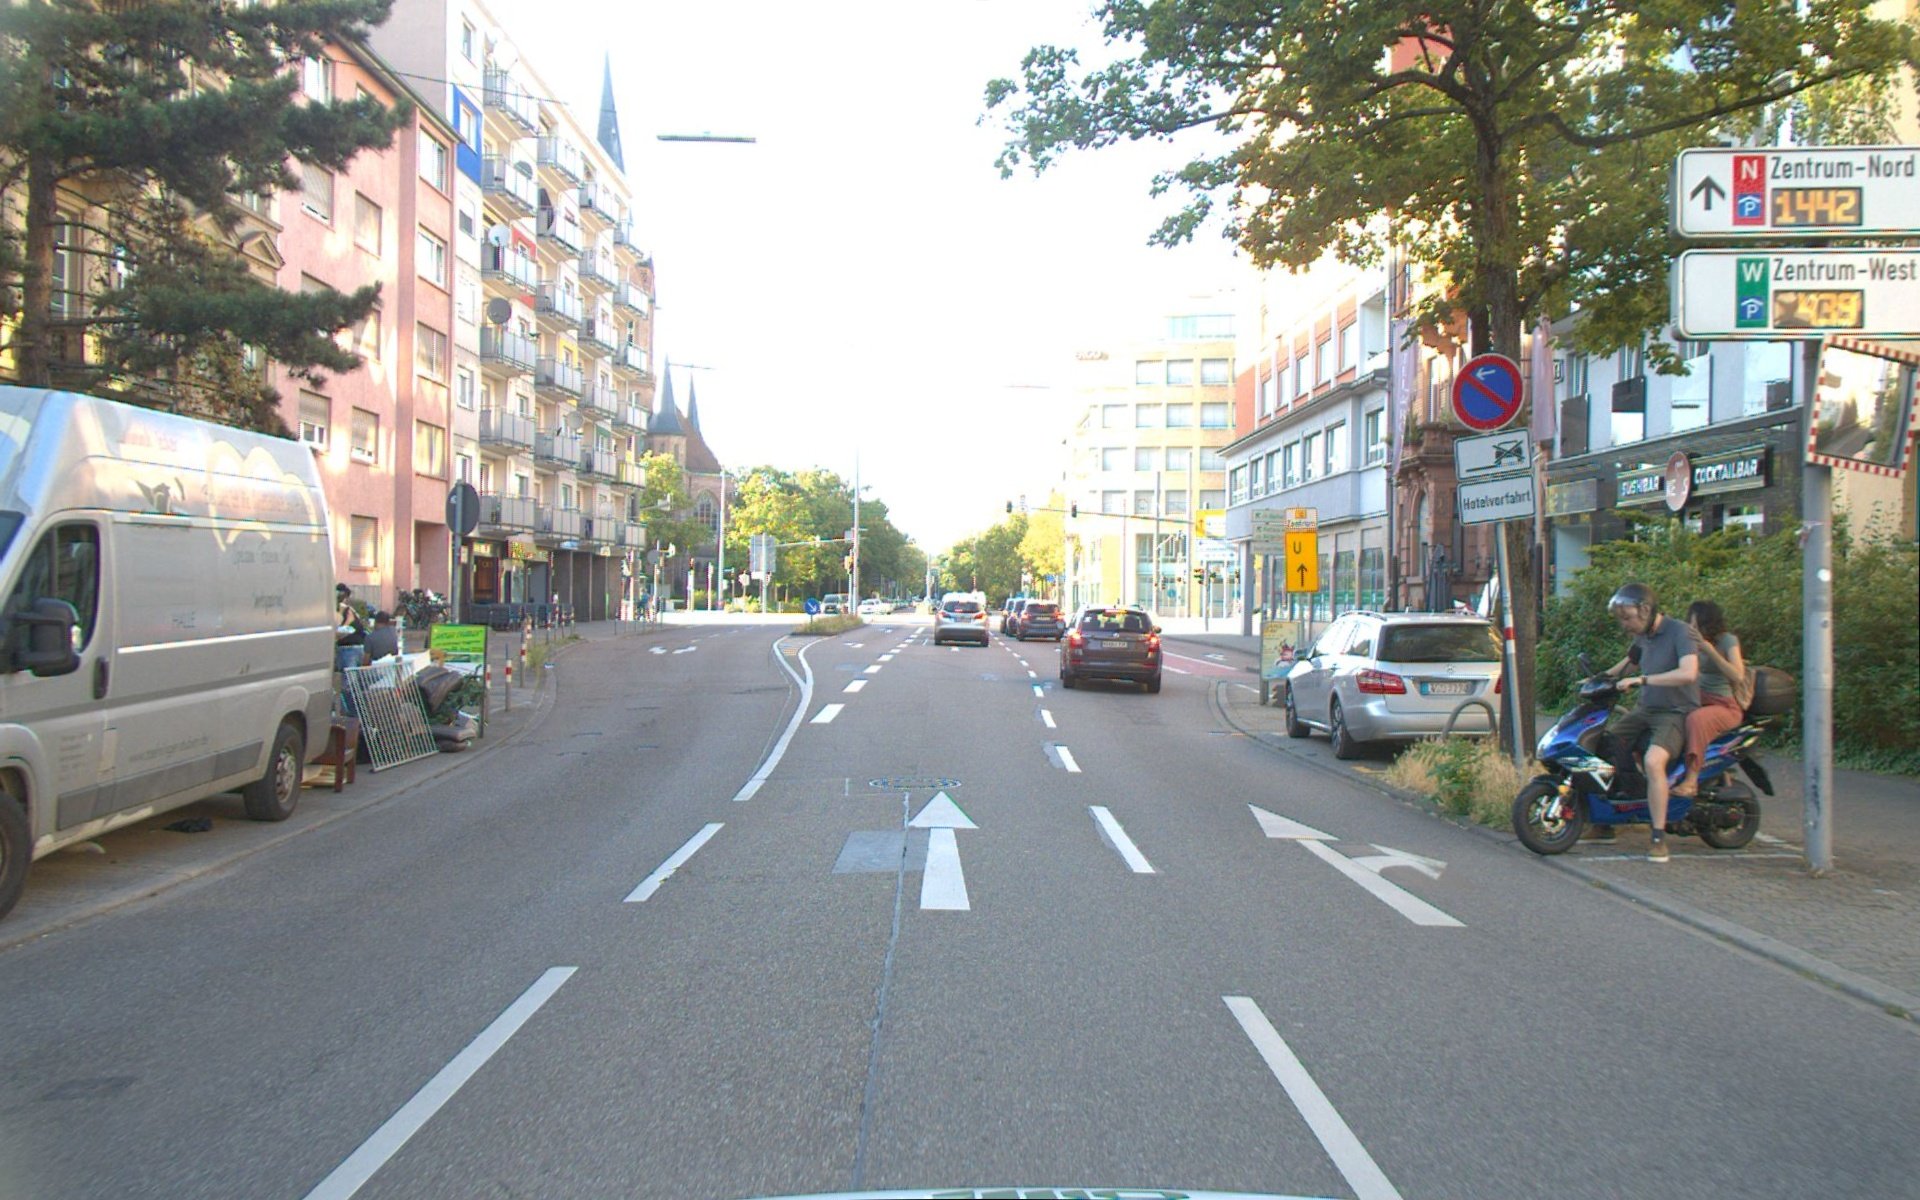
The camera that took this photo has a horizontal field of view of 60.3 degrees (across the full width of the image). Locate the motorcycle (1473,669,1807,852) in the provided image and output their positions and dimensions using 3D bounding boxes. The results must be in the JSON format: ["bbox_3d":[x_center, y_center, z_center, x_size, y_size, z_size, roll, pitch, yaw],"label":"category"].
[{"bbox_3d":[4.420,1.021,10.797,1.892,1.090,0.818,1,0,-13],"label":"motorcycle"}]

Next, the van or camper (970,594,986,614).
[{"bbox_3d":[2.412,0.509,219.005,1.952,2.686,5.351,1,0,1],"label":"van or camper"}]

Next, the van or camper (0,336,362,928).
[{"bbox_3d":[-5.499,0.116,9.669,1.995,2.710,6.012,3,0,-3],"label":"van or camper"}]

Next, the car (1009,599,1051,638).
[{"bbox_3d":[2.829,0.721,67.258,1.459,1.532,3.478,1,0,-2],"label":"car"}]

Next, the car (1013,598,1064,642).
[{"bbox_3d":[2.873,0.717,61.361,1.617,1.510,4.239,2,0,-1],"label":"car"}]

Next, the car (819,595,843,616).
[{"bbox_3d":[-10.881,0.456,139.737,1.743,1.676,4.000,1,0,0],"label":"car"}]

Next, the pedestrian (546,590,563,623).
[{"bbox_3d":[-17.268,0.276,70.464,0.473,1.408,0.481,1,-1,20],"label":"pedestrian"}]

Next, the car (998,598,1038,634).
[{"bbox_3d":[2.531,0.689,72.889,1.552,1.472,3.647,2,0,-1],"label":"car"}]

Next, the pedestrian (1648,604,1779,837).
[{"bbox_3d":[4.888,0.761,10.761,0.430,1.455,0.702,1,0,-12],"label":"pedestrian"}]

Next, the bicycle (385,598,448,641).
[{"bbox_3d":[-15.347,0.549,46.729,1.649,1.180,0.492,1,0,-27],"label":"bicycle"}]

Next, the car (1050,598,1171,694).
[{"bbox_3d":[2.640,0.766,29.844,1.673,1.482,4.158,4,0,-1],"label":"car"}]

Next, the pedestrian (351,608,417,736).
[{"bbox_3d":[-6.479,0.804,18.628,0.548,1.402,0.480,2,0,-6],"label":"pedestrian"}]

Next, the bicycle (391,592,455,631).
[{"bbox_3d":[-15.439,0.324,47.535,1.638,1.059,0.548,2,-1,-8],"label":"bicycle"}]

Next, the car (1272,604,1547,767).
[{"bbox_3d":[4.813,0.832,18.464,1.817,1.539,4.835,-1,0,1],"label":"car"}]

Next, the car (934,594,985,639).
[{"bbox_3d":[-0.050,0.572,60.735,1.767,1.596,3.617,1,0,-2],"label":"car"}]

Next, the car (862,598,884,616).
[{"bbox_3d":[-7.674,0.622,145.793,1.743,1.490,4.000,1,0,0],"label":"car"}]

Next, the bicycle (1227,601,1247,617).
[{"bbox_3d":[21.321,0.701,127.540,1.487,1.193,0.475,1,0,6],"label":"bicycle"}]

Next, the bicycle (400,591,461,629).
[{"bbox_3d":[-15.484,0.288,48.364,1.642,1.059,0.547,2,-1,-16],"label":"bicycle"}]

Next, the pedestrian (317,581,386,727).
[{"bbox_3d":[-7.188,0.626,19.545,0.593,1.681,0.696,1,0,-7],"label":"pedestrian"}]

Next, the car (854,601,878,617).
[{"bbox_3d":[-7.912,0.753,139.217,1.743,1.258,4.000,1,0,0],"label":"car"}]

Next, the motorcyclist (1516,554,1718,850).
[{"bbox_3d":[4.229,0.627,10.712,0.723,1.809,1.085,1,0,-12],"label":"motorcyclist"}]

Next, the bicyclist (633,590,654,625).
[{"bbox_3d":[-15.464,0.365,80.822,0.766,1.689,0.900,1,-1,-1],"label":"bicyclist"}]

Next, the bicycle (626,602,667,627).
[{"bbox_3d":[-15.222,0.701,80.335,1.790,1.209,0.734,1,0,-2],"label":"bicycle"}]

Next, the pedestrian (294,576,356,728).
[{"bbox_3d":[-7.182,0.574,18.730,0.470,1.681,0.724,1,0,-7],"label":"pedestrian"}]

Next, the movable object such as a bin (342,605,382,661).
[{"bbox_3d":[-12.162,0.661,33.637,0.633,1.102,0.577,3,-1,-31],"label":"movable object such as a bin"}]

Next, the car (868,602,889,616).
[{"bbox_3d":[-7.687,0.820,156.807,1.743,1.258,4.000,1,0,0],"label":"car"}]

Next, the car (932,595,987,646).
[{"bbox_3d":[-0.027,0.624,53.838,1.673,1.536,4.308,2,0,-1],"label":"car"}]
